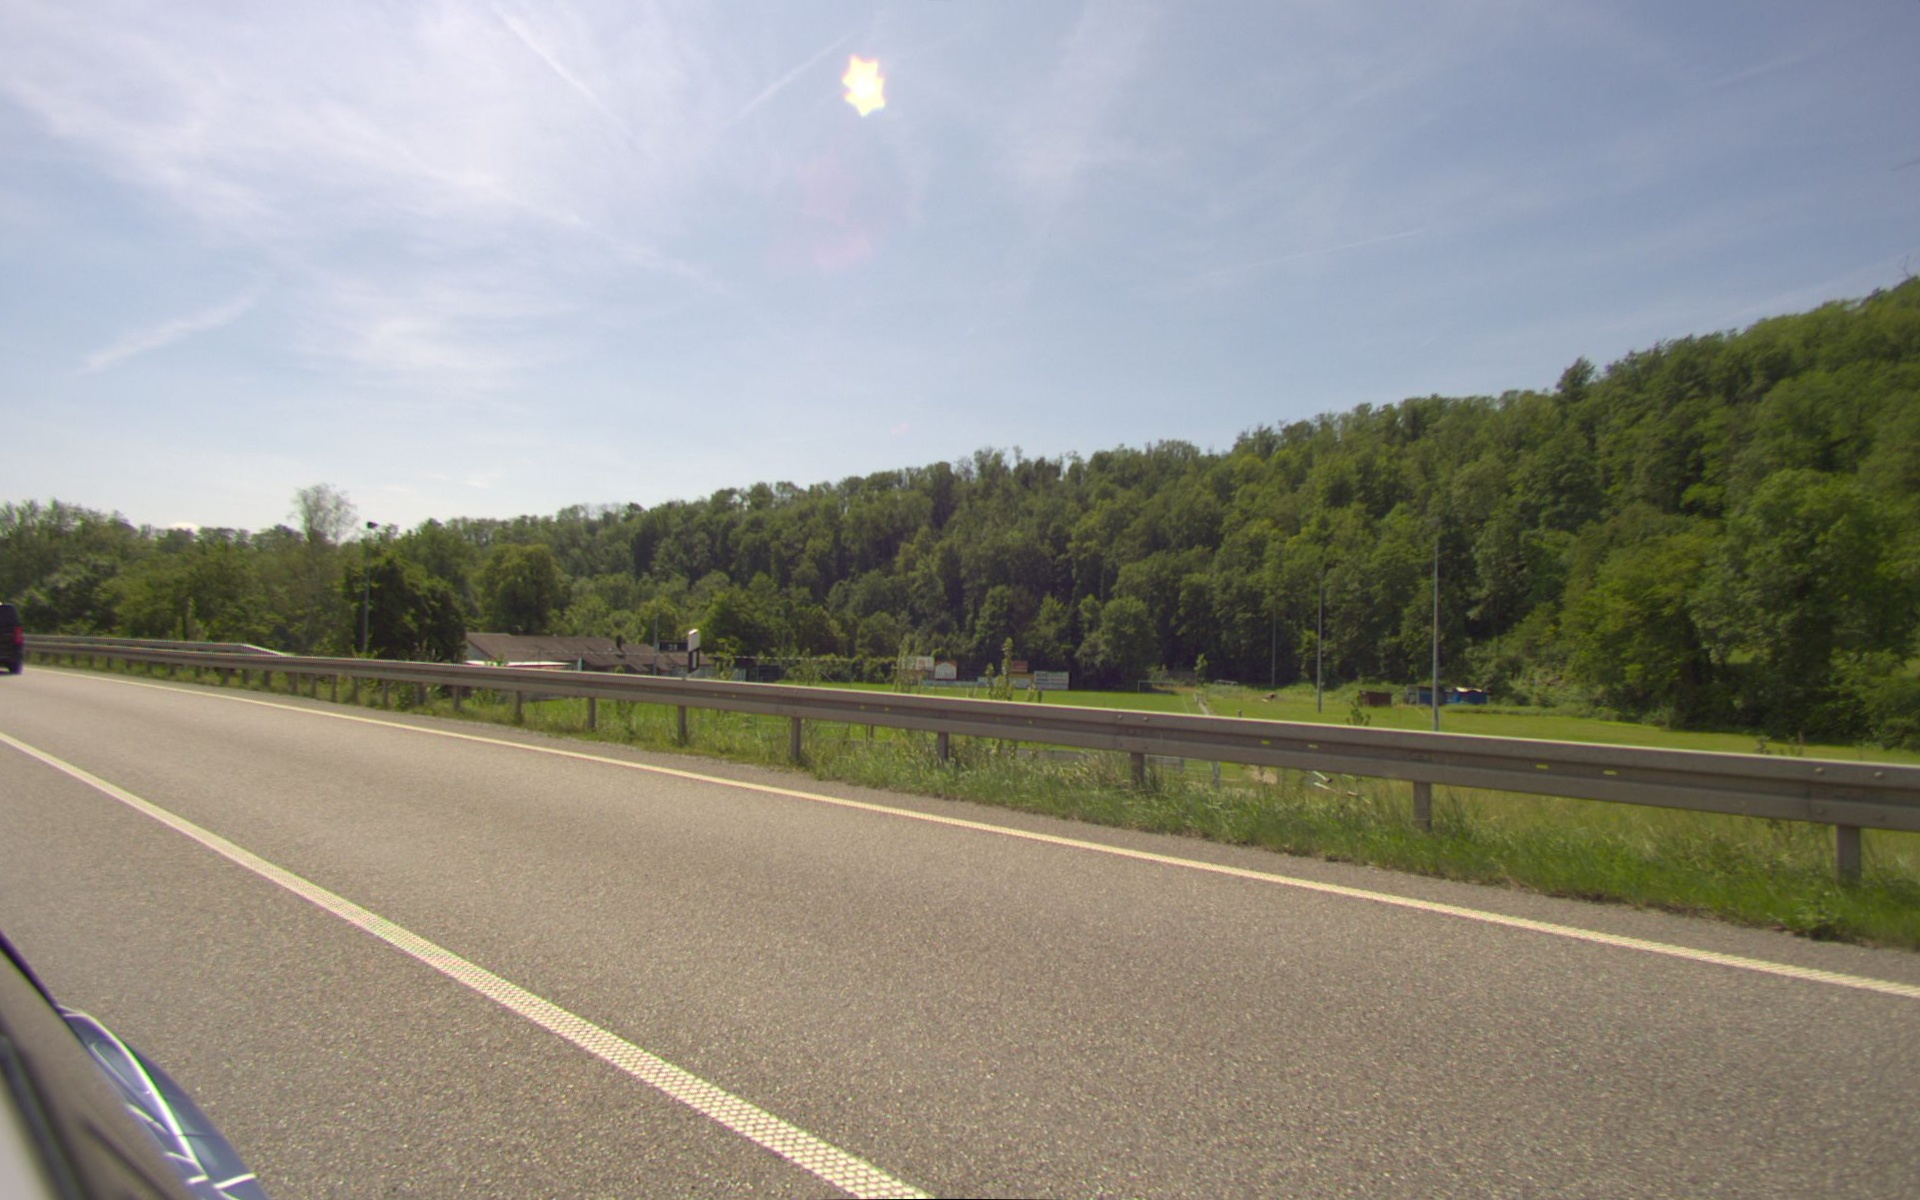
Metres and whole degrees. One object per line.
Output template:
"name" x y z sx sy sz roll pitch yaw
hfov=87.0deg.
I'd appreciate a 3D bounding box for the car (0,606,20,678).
"car" -27.329 1.119 27.543 5.170 1.874 1.903 -1 -1 39
